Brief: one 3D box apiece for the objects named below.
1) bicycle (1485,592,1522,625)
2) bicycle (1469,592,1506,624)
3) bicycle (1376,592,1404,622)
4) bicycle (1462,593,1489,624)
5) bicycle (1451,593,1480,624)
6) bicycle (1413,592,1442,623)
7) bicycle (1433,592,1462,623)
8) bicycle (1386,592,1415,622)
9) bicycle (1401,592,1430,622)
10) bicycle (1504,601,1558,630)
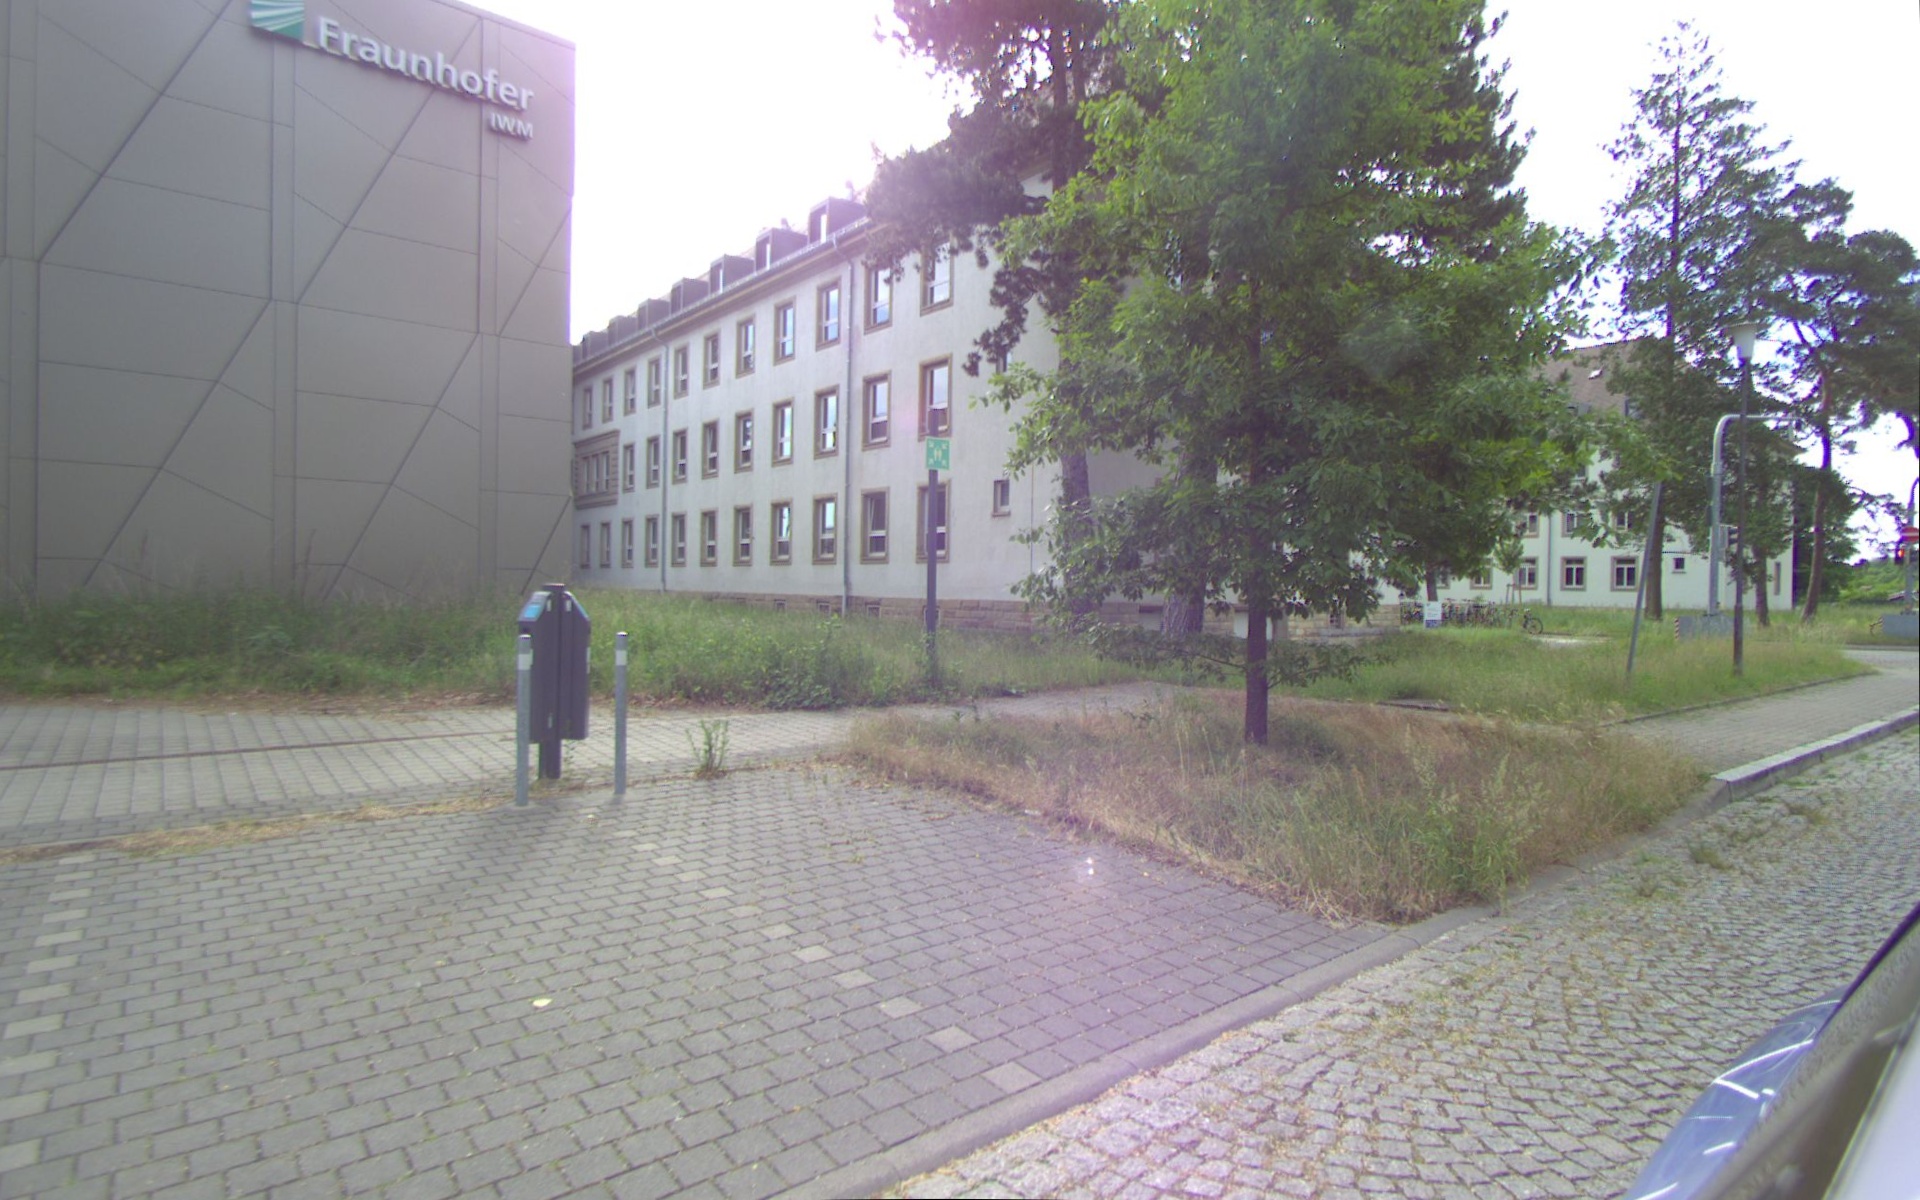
[{"bbox_3d":[23.274,0.358,43.333,1.801,1.348,0.573,1,0,-32],"label":"bicycle"},{"bbox_3d":[22.793,0.357,43.748,1.801,1.348,0.573,1,0,-32],"label":"bicycle"},{"bbox_3d":[20.101,0.331,47.292,1.808,1.348,0.571,0,1,-45],"label":"bicycle"},{"bbox_3d":[22.490,0.358,44.143,1.808,1.348,0.481,0,0,-45],"label":"bicycle"},{"bbox_3d":[22.227,0.360,44.487,1.808,1.348,0.571,0,1,-45],"label":"bicycle"},{"bbox_3d":[21.122,0.324,45.672,1.808,1.348,0.571,0,1,-45],"label":"bicycle"},{"bbox_3d":[21.699,0.329,45.042,1.808,1.348,0.571,0,1,-45],"label":"bicycle"},{"bbox_3d":[20.332,0.329,46.690,1.808,1.348,0.571,0,1,-45],"label":"bicycle"},{"bbox_3d":[20.747,0.326,46.095,1.808,1.348,0.571,0,1,-45],"label":"bicycle"},{"bbox_3d":[23.080,0.605,40.958,0.562,1.098,1.838,-2,2,-35],"label":"bicycle"}]
